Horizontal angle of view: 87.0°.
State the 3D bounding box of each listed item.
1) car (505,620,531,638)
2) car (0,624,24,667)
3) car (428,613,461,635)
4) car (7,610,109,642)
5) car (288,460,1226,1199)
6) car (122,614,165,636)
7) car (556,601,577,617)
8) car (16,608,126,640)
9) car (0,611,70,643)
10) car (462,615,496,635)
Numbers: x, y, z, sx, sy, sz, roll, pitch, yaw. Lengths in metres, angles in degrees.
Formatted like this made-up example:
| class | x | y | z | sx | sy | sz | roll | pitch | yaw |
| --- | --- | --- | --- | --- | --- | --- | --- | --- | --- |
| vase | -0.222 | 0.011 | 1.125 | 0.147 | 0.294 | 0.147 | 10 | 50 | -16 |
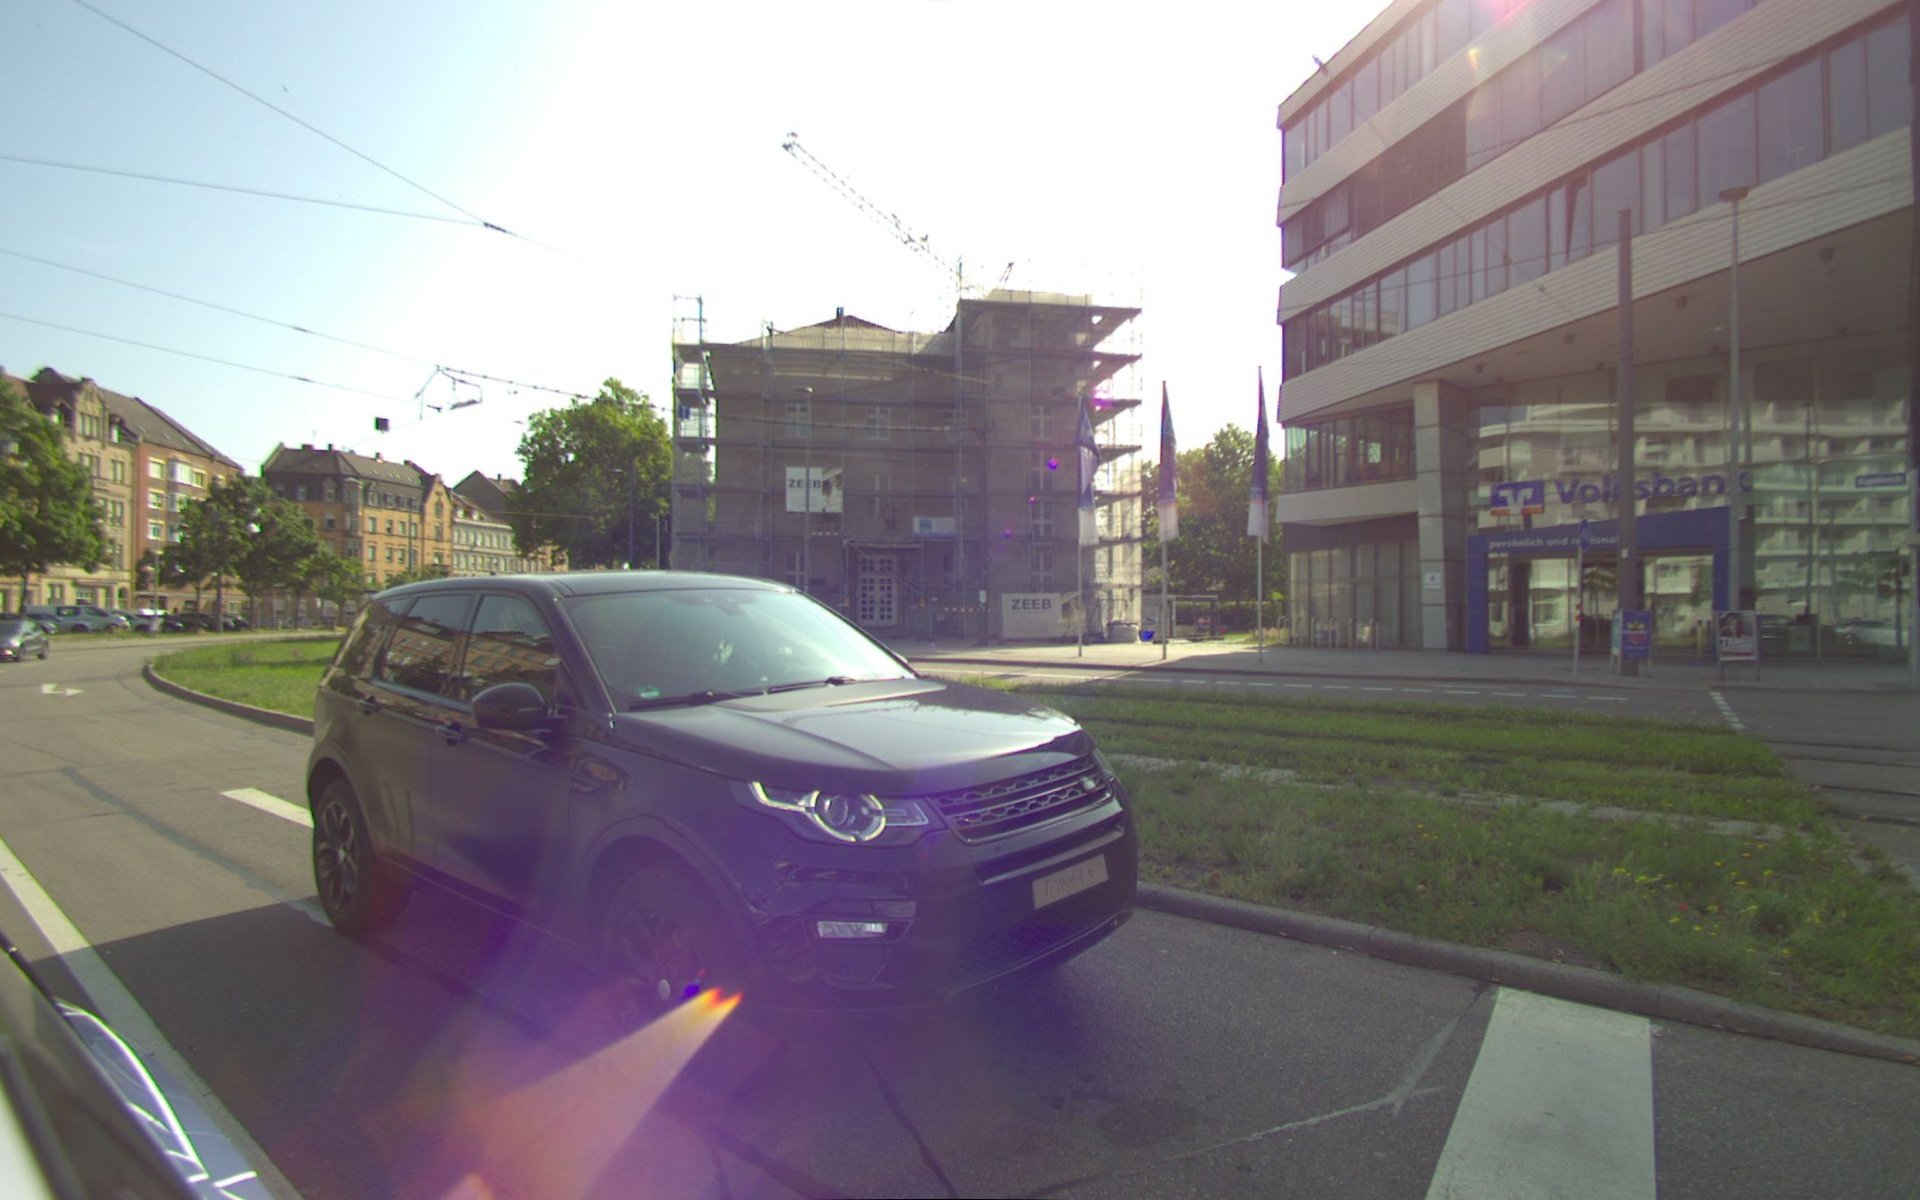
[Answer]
| class | x | y | z | sx | sy | sz | roll | pitch | yaw |
| --- | --- | --- | --- | --- | --- | --- | --- | --- | --- |
| car | -51.228 | 3.385 | 117.407 | 1.967 | 2.029 | 4.009 | 0 | -1 | -11 |
| car | -33.875 | 1.569 | 35.285 | 1.619 | 1.430 | 3.901 | 1 | -1 | -40 |
| car | -49.313 | 2.258 | 96.881 | 1.967 | 2.029 | 4.011 | -1 | 0 | -13 |
| car | -53.696 | 1.557 | 60.290 | 1.722 | 1.779 | 4.356 | -1 | -3 | 43 |
| car | -1.201 | 0.579 | 4.373 | 4.219 | 1.690 | 1.778 | -1 | -2 | 41 |
| car | -66.416 | 2.038 | 82.334 | 1.311 | 1.745 | 2.785 | 0 | -1 | -1 |
| car | -50.865 | 1.178 | 130.944 | 1.967 | 1.993 | 4.011 | -1 | 0 | -13 |
| car | -55.018 | 1.501 | 62.737 | 1.720 | 1.852 | 4.862 | -1 | -3 | 39 |
| car | -53.288 | 1.521 | 56.955 | 4.663 | 1.779 | 1.725 | 3 | -3 | -39 |
| car | -45.441 | 2.370 | 95.731 | 1.967 | 1.874 | 4.009 | 0 | -1 | -11 |
